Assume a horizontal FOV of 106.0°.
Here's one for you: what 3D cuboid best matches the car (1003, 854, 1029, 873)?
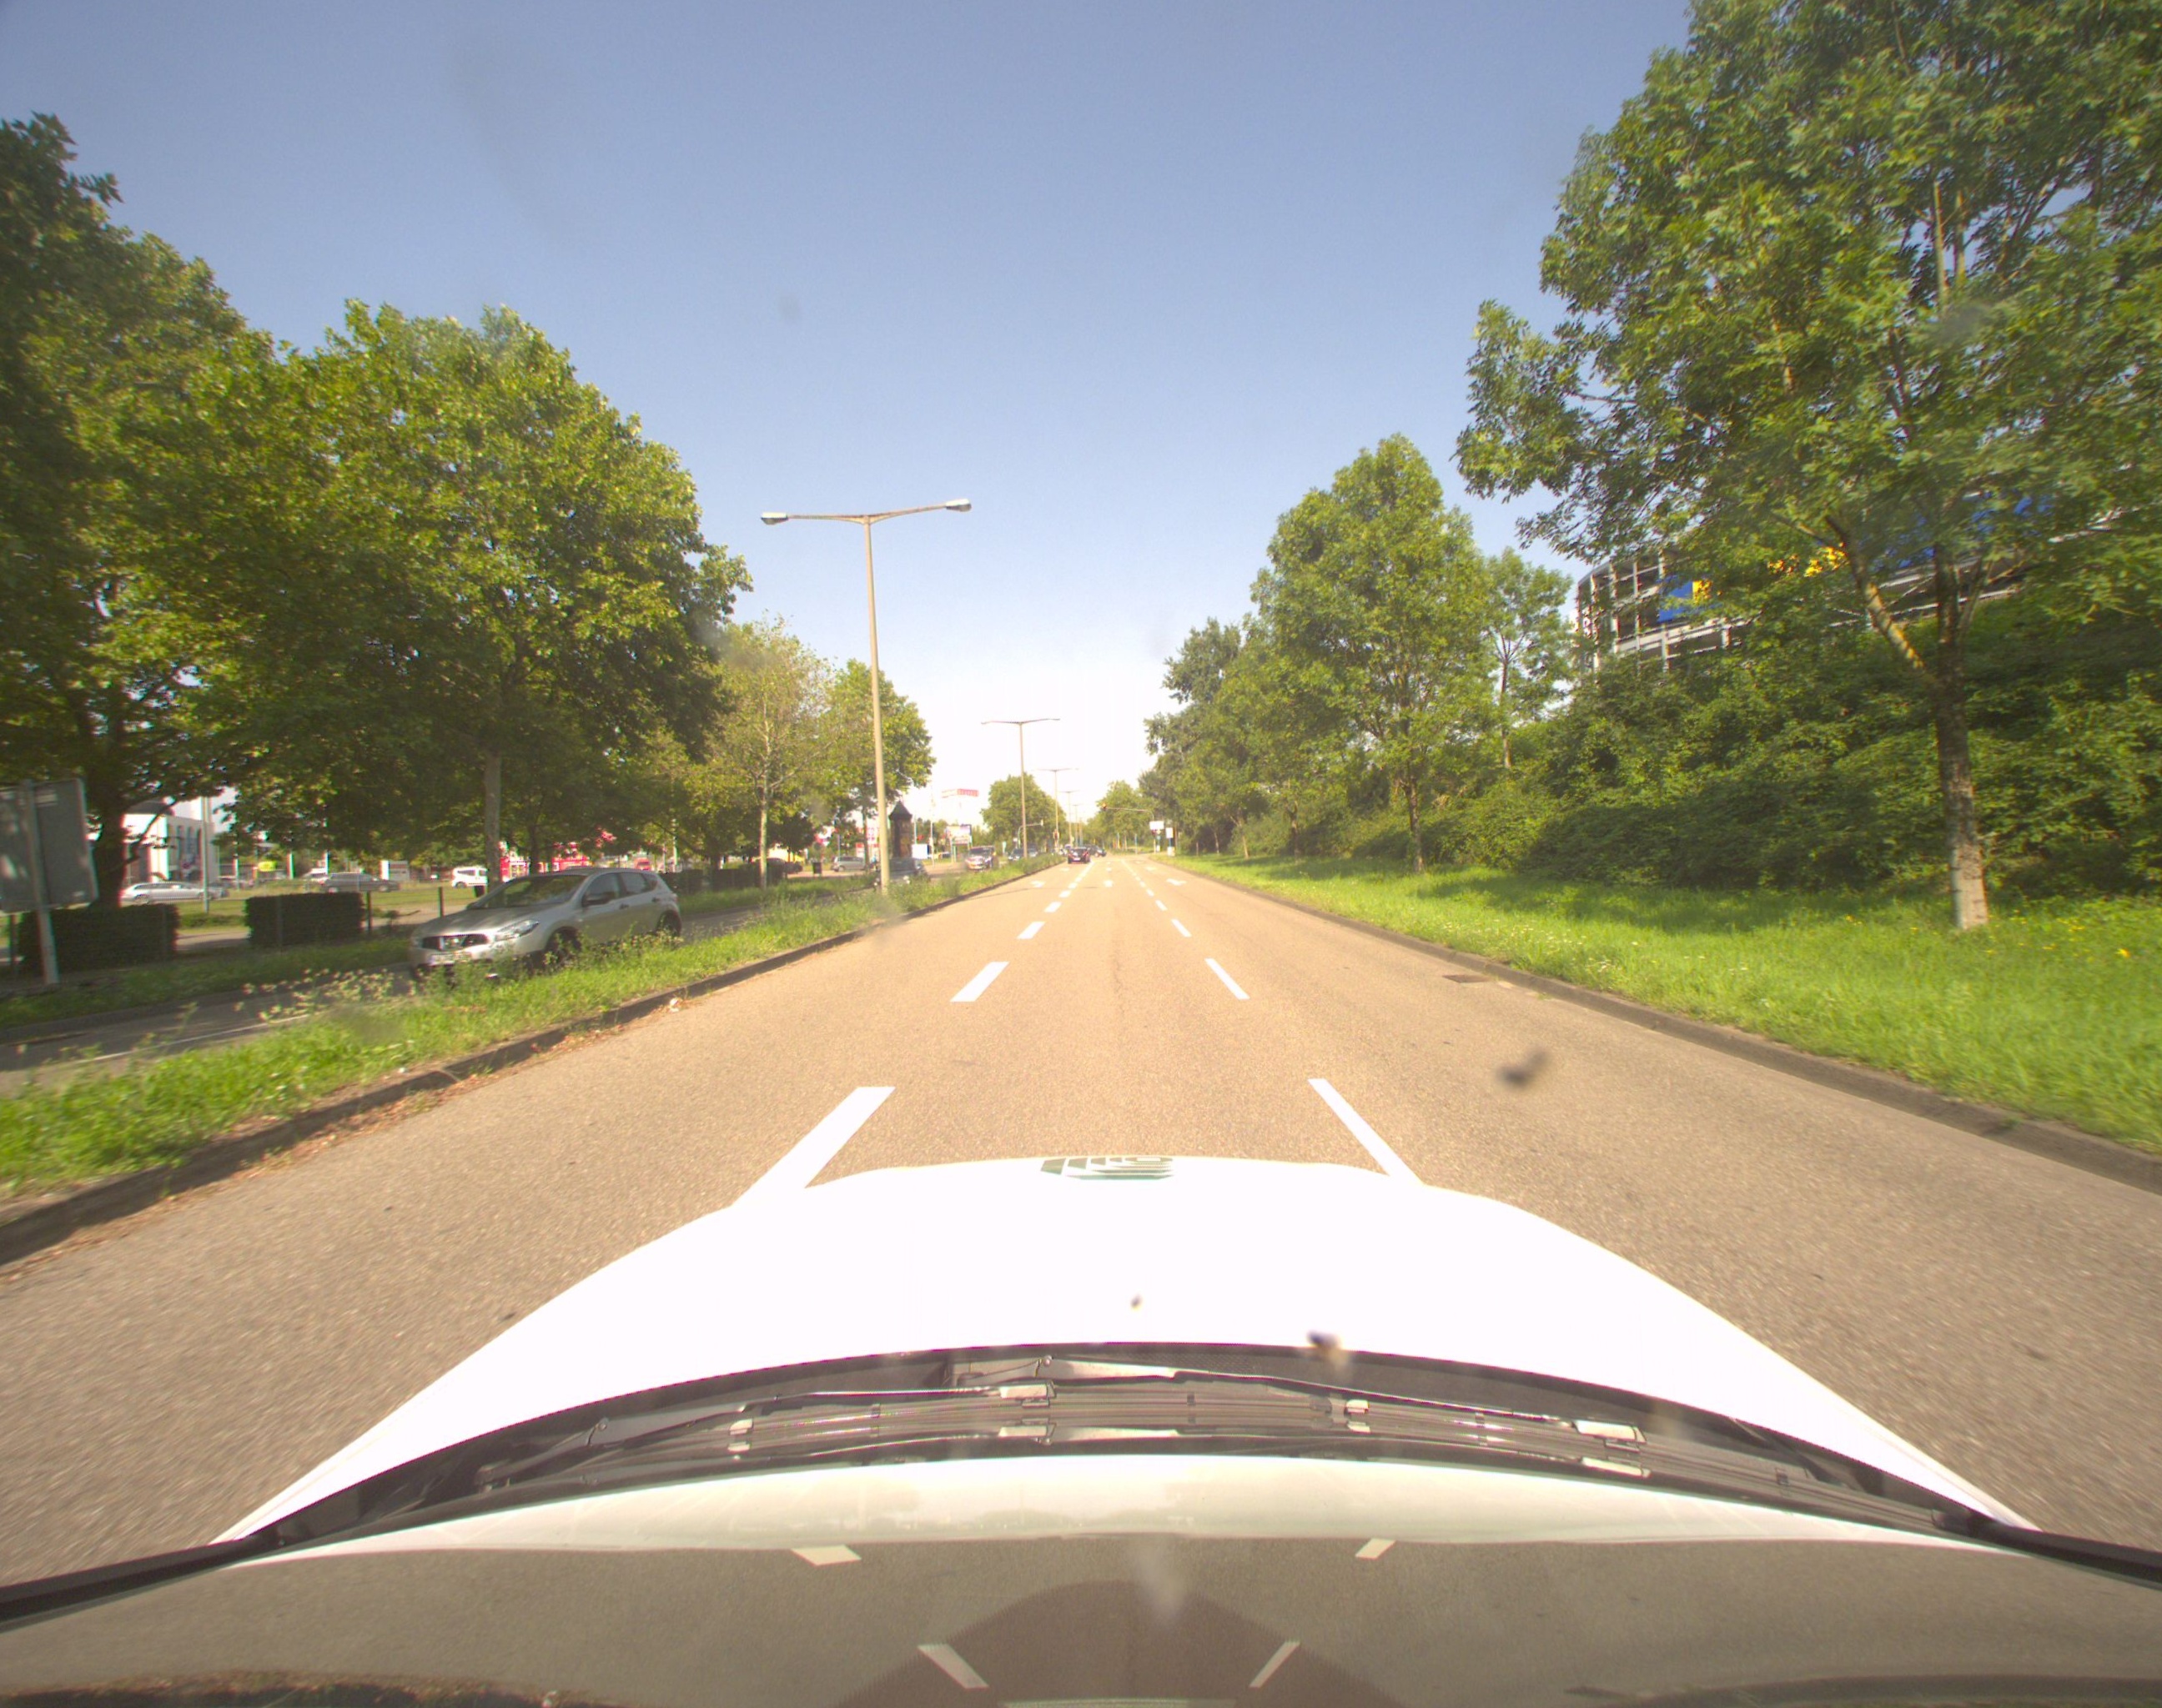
[{"bbox_3d":[-6.231,0.899,78.620,1.987,1.706,4.504,-3,0,0],"label":"car"}]

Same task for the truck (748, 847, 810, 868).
[{"bbox_3d":[-49.725,0.604,134.193,9.051,2.957,3.477,-3,0,-34],"label":"truck"}]

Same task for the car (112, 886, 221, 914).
[{"bbox_3d":[-62.525,3.108,55.804,4.612,1.545,1.849,-3,0,-38],"label":"car"}]

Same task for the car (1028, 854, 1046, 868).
[{"bbox_3d":[-5.192,0.780,96.525,1.766,1.574,4.002,-2,0,2],"label":"car"}]

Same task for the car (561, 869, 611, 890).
[{"bbox_3d":[-41.910,2.136,68.981,3.507,1.580,1.708,-3,0,-35],"label":"car"}]

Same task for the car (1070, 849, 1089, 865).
[{"bbox_3d":[-0.091,0.296,81.492,1.685,1.486,4.002,-3,0,2],"label":"car"}]

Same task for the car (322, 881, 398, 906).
[{"bbox_3d":[-54.443,2.966,61.554,4.016,1.545,1.821,-3,0,-34],"label":"car"}]

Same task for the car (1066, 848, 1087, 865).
[{"bbox_3d":[-0.390,0.192,75.217,1.685,1.486,4.002,-1,0,2],"label":"car"}]

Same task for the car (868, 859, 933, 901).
[{"bbox_3d":[-7.006,0.961,31.964,1.670,1.486,3.493,-2,0,1],"label":"car"}]

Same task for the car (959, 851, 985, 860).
[{"bbox_3d":[-15.951,0.192,119.415,3.354,1.137,1.497,-3,0,10],"label":"car"}]

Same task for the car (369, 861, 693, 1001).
[{"bbox_3d":[-7.816,0.973,12.173,1.872,1.594,4.110,-3,0,2],"label":"car"}]

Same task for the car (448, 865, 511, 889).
[{"bbox_3d":[-48.003,1.807,65.087,4.017,1.679,1.850,-2,0,-35],"label":"car"}]

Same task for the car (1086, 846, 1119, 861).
[{"bbox_3d":[3.025,-0.044,114.576,4.230,1.836,1.922,-3,0,19],"label":"car"}]

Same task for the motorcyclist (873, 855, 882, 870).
[{"bbox_3d":[-20.493,0.855,81.891,0.686,1.572,0.676,-1,0,-34],"label":"motorcyclist"}]

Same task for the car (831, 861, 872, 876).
[{"bbox_3d":[-23.408,1.474,83.008,3.718,1.443,1.451,-2,0,-34],"label":"car"}]

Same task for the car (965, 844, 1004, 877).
[{"bbox_3d":[-6.528,0.399,55.374,1.925,2.027,4.567,-3,0,1],"label":"car"}]

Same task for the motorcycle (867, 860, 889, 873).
[{"bbox_3d":[-20.425,1.252,81.924,2.084,1.136,0.670,-2,0,-34],"label":"motorcycle"}]
